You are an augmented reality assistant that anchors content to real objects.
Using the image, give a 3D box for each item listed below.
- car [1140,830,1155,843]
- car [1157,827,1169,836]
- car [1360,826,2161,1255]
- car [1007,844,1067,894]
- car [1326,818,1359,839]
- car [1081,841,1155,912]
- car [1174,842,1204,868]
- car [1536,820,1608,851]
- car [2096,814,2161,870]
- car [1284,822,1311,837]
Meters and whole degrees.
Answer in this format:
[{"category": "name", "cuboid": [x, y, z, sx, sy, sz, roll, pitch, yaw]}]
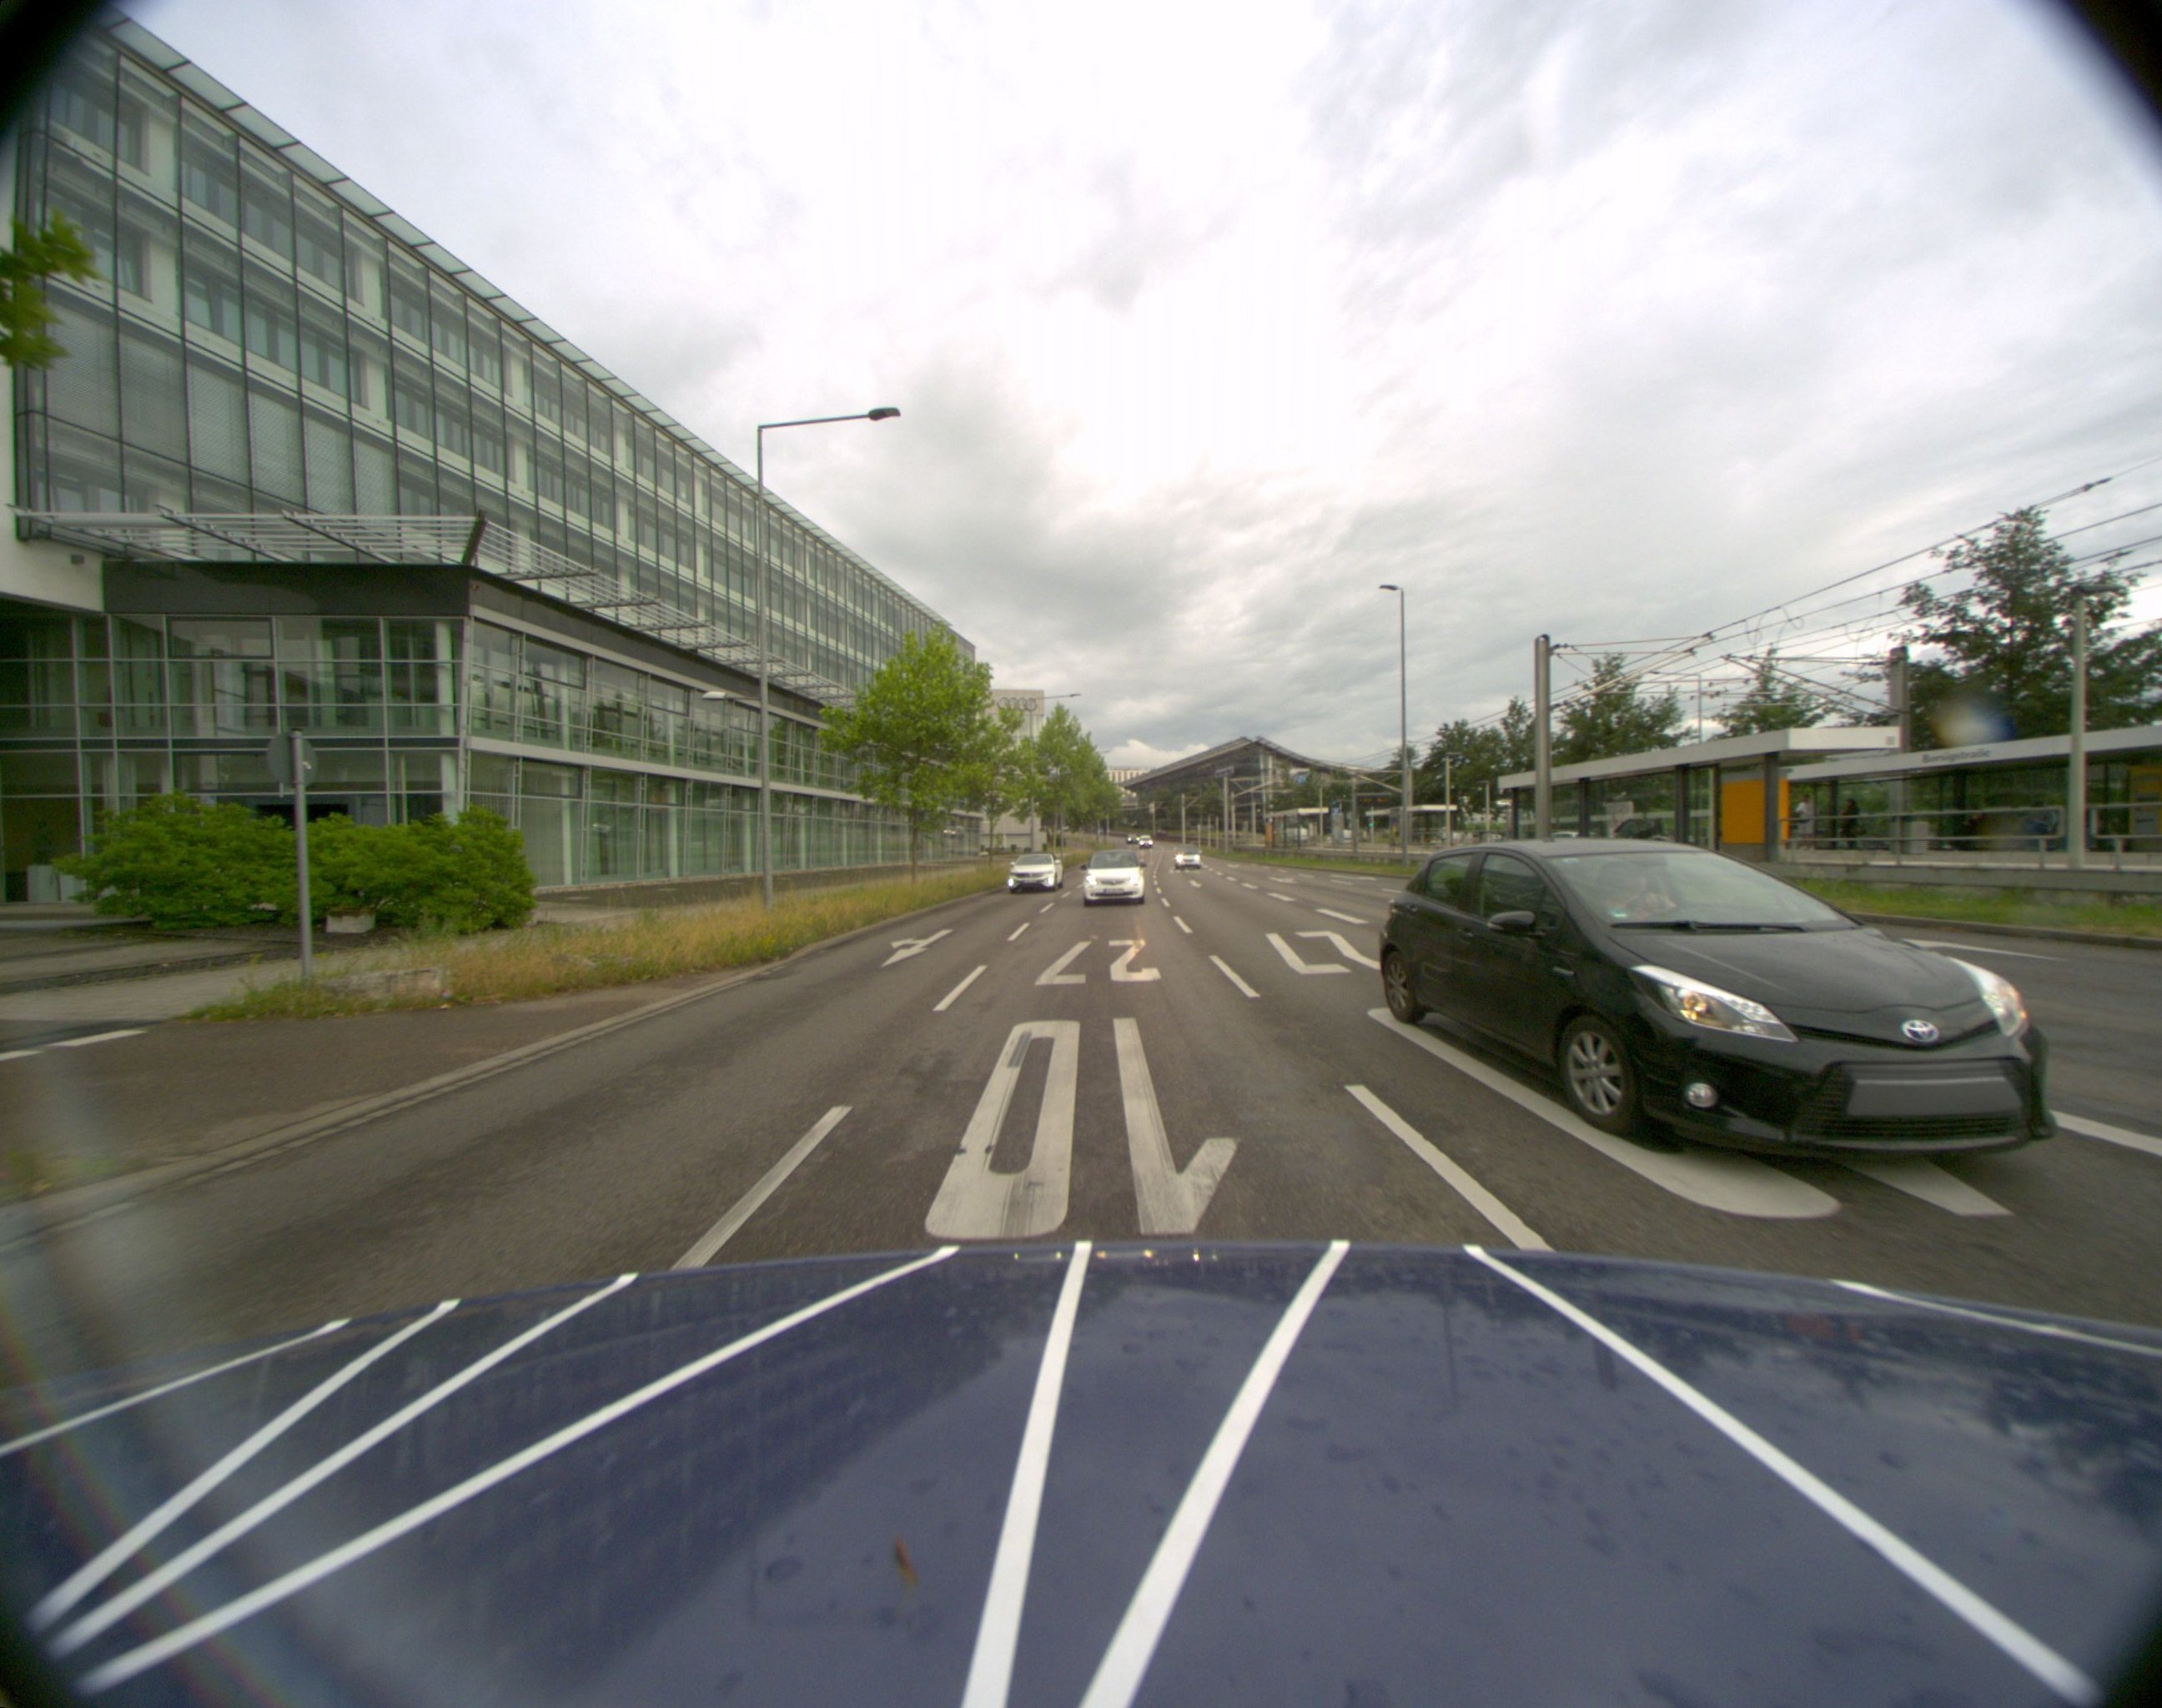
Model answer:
[{"category": "car", "cuboid": [9.626, -2.590, 110.097, 1.829, 1.701, 4.152, -3, 2, 1]}, {"category": "car", "cuboid": [18.474, -5.053, 171.516, 1.999, 1.837, 3.998, -3, 2, -2]}, {"category": "car", "cuboid": [3.363, 0.695, 4.797, 1.697, 1.514, 3.904, -3, 0, 0]}, {"category": "car", "cuboid": [-1.668, 0.554, 30.293, 1.998, 1.669, 3.821, -4, 2, 1]}, {"category": "car", "cuboid": [28.950, -2.820, 84.278, 1.998, 2.202, 5.142, -3, 2, 1]}, {"category": "car", "cuboid": [1.006, 0.580, 21.468, 1.805, 1.713, 4.000, -3, 0, 2]}, {"category": "car", "cuboid": [6.832, 0.029, 48.168, 1.739, 1.470, 4.001, -3, 1, 8]}, {"category": "car", "cuboid": [29.053, -1.102, 45.112, 1.532, 1.657, 4.267, -3, 2, 0]}, {"category": "car", "cuboid": [30.900, -0.309, 20.052, 1.681, 1.489, 4.930, -3, 2, 1]}, {"category": "car", "cuboid": [28.204, -3.226, 99.320, 1.999, 1.721, 5.028, -3, 2, -1]}]
